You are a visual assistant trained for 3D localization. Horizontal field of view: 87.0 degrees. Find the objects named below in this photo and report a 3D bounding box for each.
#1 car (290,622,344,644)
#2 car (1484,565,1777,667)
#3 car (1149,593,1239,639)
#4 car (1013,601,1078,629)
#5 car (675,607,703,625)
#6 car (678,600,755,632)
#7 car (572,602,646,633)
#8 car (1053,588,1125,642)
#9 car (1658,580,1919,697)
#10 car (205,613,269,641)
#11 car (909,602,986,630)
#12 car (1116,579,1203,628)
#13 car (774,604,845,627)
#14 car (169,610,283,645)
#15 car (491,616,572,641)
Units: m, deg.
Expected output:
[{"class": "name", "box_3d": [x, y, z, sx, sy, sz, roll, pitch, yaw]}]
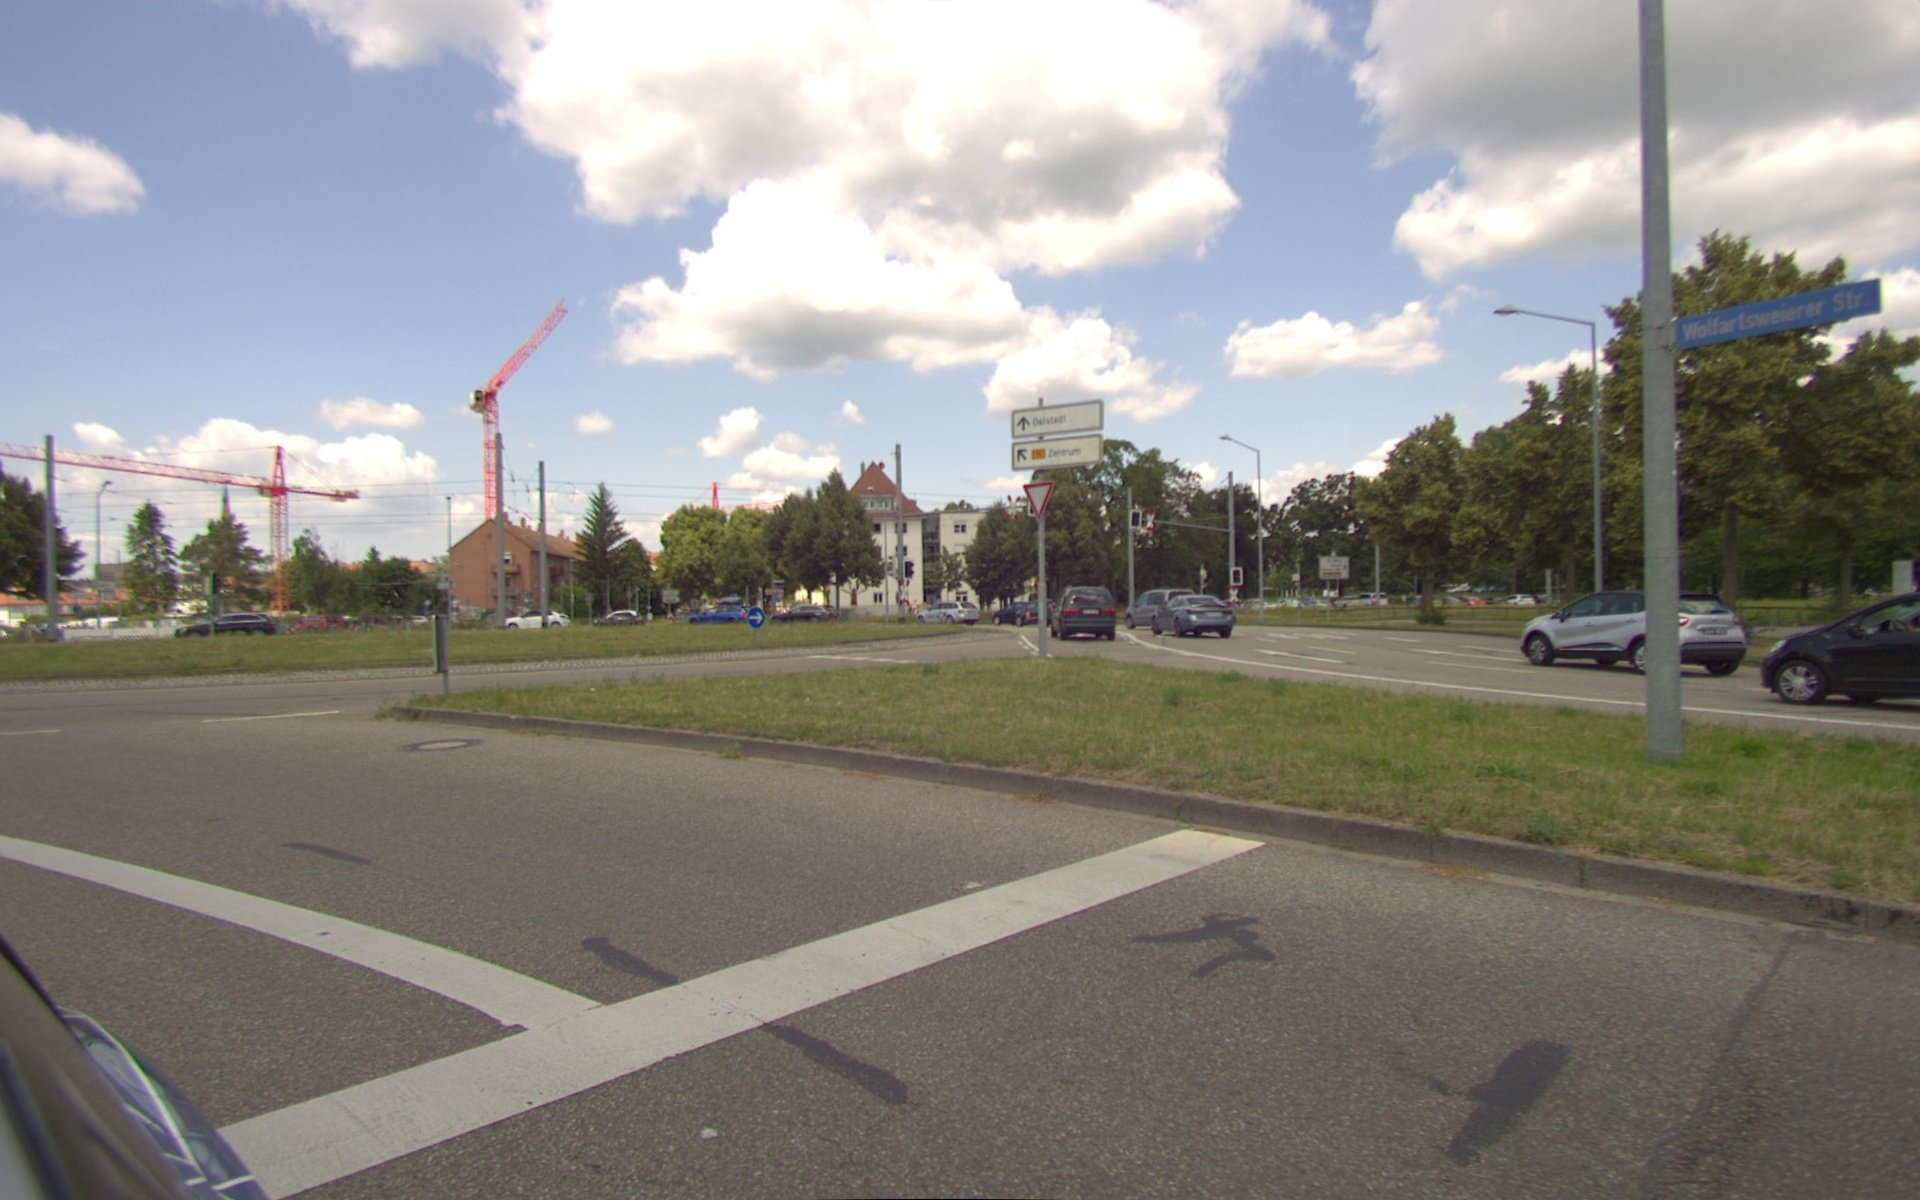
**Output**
[{"class": "car", "box_3d": [-59.129, 2.997, 93.075, 5.165, 1.866, 2.066, -2, 0, 31]}, {"class": "car", "box_3d": [12.798, 0.291, 19.805, 1.968, 1.699, 4.798, -2, 0, -10]}, {"class": "car", "box_3d": [8.044, 0.532, 35.155, 1.883, 1.434, 4.194, -2, 0, -3]}, {"class": "car", "box_3d": [4.367, 0.790, 52.265, 1.771, 1.350, 3.992, 0, -2, -21]}, {"class": "car", "box_3d": [-29.249, 1.696, 109.336, 2.035, 1.638, 4.950, -3, 1, -6]}, {"class": "car", "box_3d": [-15.134, 1.012, 63.002, 4.370, 1.812, 1.746, -2, 0, 17]}, {"class": "car", "box_3d": [-25.046, 1.236, 72.402, 4.652, 2.029, 2.003, -2, 0, -7]}, {"class": "car", "box_3d": [4.136, 0.440, 33.069, 1.888, 1.604, 4.588, -1, 0, 3]}, {"class": "car", "box_3d": [11.455, 0.447, 12.137, 1.812, 1.320, 4.803, 1, -1, -26]}, {"class": "car", "box_3d": [-62.013, 2.301, 86.733, 6.823, 2.214, 2.366, -2, 0, 35]}, {"class": "car", "box_3d": [-0.789, 0.971, 60.141, 2.091, 1.533, 4.513, -2, 0, -42]}, {"class": "car", "box_3d": [8.921, 0.161, 45.685, 1.967, 2.029, 4.800, -1, 0, -13]}, {"class": "car", "box_3d": [-9.960, 1.050, 66.985, 4.478, 1.333, 1.932, -2, 0, 33]}, {"class": "car", "box_3d": [-40.540, 1.489, 55.940, 4.989, 1.687, 2.004, -2, 0, -38]}, {"class": "car", "box_3d": [-26.750, 1.779, 63.251, 4.245, 1.339, 2.003, -2, 0, -6]}]
